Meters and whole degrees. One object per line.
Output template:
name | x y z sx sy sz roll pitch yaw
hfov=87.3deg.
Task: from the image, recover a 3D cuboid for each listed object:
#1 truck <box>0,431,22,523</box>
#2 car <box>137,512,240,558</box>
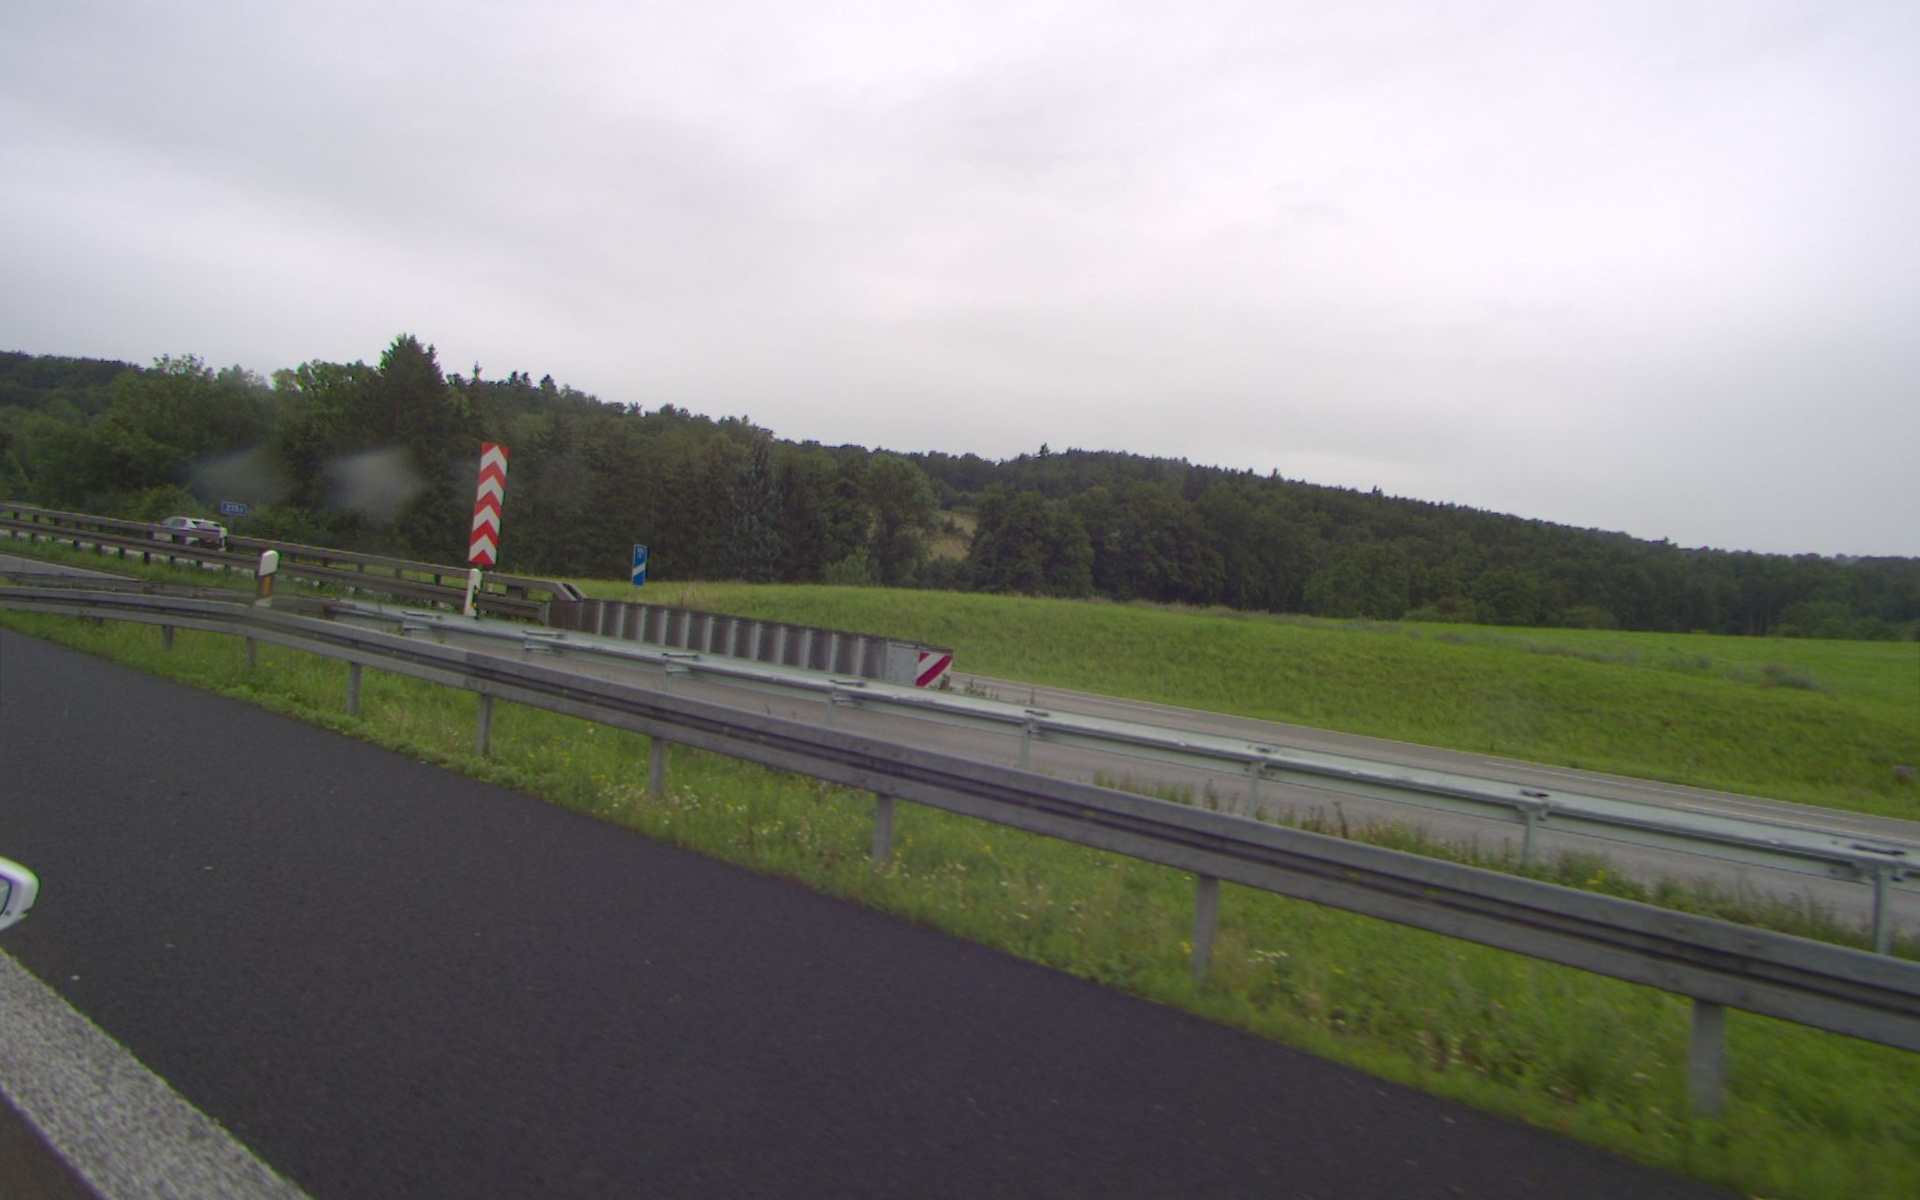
truck | -57.074 -7.261 54.341 16.591 4.595 3.830 6 -1 28
car | -35.886 -3.027 46.773 4.944 1.522 1.823 7 -1 28
